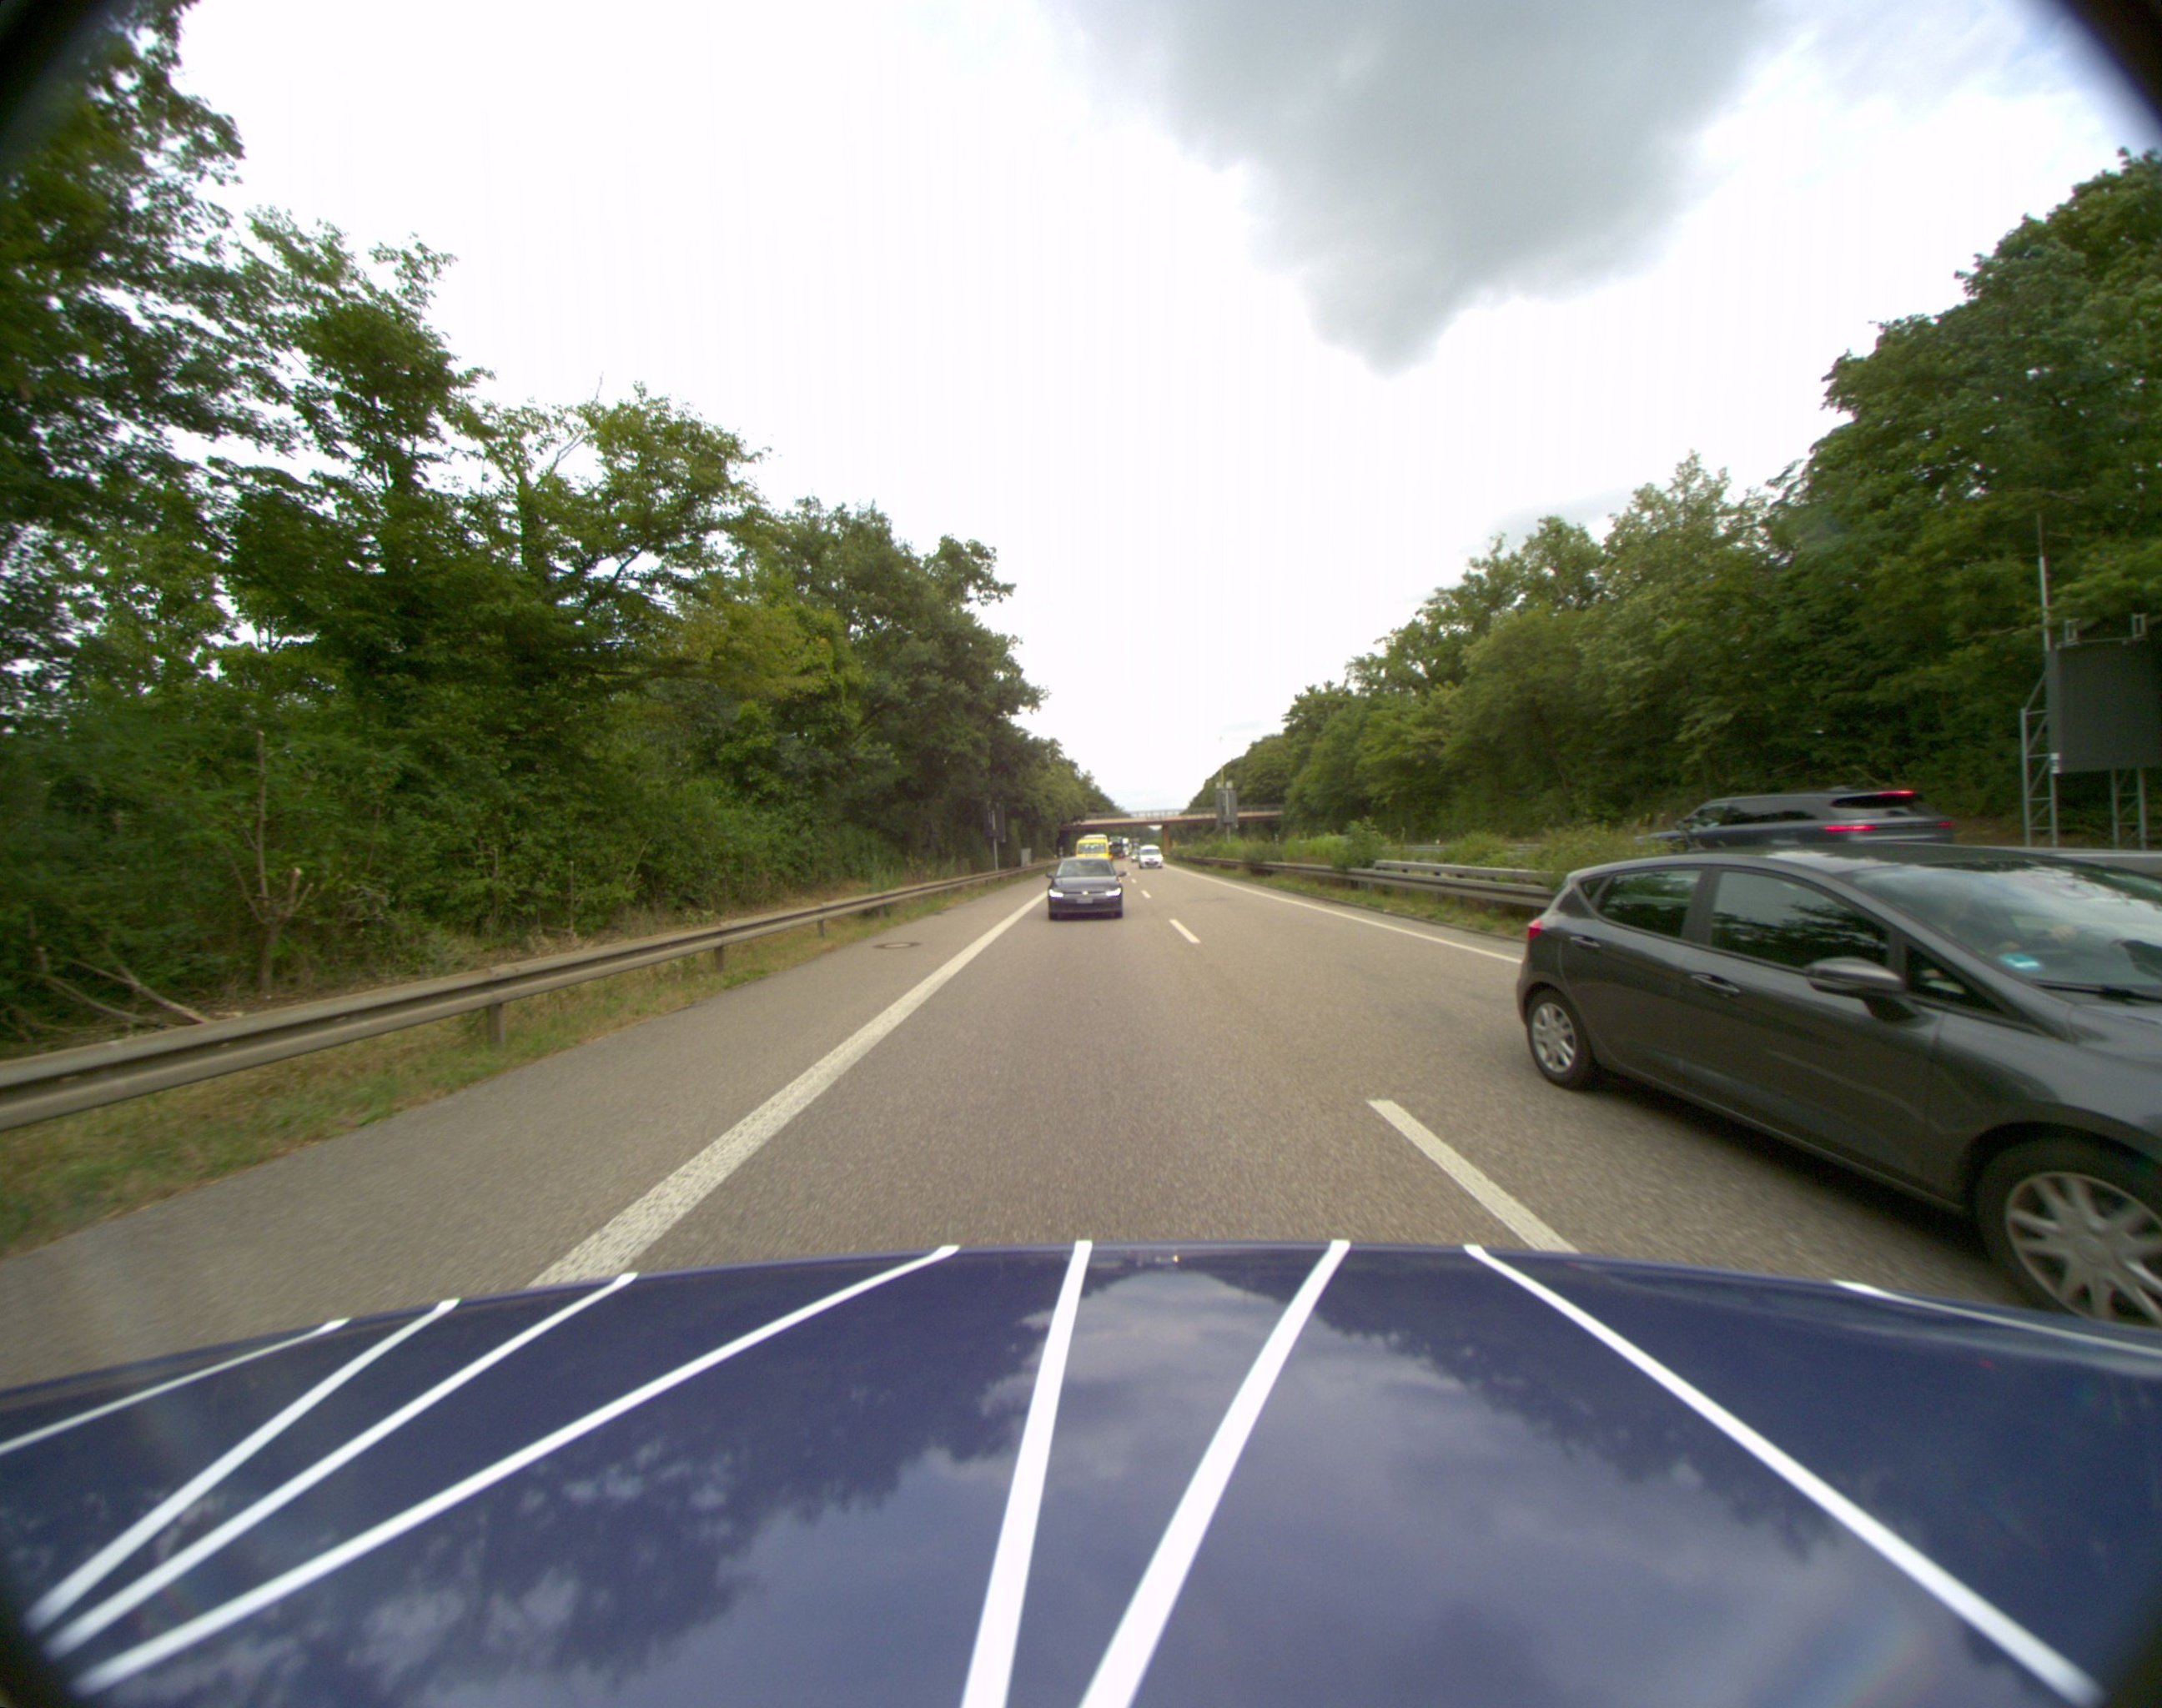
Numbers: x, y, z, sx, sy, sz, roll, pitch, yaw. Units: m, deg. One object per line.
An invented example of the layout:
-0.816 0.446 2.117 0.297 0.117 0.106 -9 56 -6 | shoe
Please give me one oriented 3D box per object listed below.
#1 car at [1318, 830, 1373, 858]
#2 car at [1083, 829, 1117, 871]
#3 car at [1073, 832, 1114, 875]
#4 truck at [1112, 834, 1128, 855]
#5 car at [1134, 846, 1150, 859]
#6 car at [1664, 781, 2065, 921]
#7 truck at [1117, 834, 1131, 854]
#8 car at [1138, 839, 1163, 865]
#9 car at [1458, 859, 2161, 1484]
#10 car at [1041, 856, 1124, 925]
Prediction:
16.857 -0.625 48.663 1.998 1.648 4.772 -2 1 2 | car
1.353 -0.335 53.673 2.207 2.732 6.167 -2 1 1 | car
0.767 -0.058 44.982 2.247 2.334 5.223 -2 1 1 | car
6.950 -1.673 134.525 2.548 3.565 6.457 -2 1 4 | truck
7.323 -0.171 91.592 1.772 1.416 4.198 -2 1 4 | car
11.847 -0.079 12.076 1.765 1.759 4.541 -2 1 2 | car
10.001 -2.385 176.232 3.099 4.463 12.210 -2 1 4 | truck
5.558 -0.204 61.453 1.821 1.993 4.423 -2 1 4 | car
3.692 0.833 3.347 1.830 1.449 4.639 -2 1 1 | car
0.150 0.816 19.133 1.800 1.398 4.639 -2 1 3 | car
